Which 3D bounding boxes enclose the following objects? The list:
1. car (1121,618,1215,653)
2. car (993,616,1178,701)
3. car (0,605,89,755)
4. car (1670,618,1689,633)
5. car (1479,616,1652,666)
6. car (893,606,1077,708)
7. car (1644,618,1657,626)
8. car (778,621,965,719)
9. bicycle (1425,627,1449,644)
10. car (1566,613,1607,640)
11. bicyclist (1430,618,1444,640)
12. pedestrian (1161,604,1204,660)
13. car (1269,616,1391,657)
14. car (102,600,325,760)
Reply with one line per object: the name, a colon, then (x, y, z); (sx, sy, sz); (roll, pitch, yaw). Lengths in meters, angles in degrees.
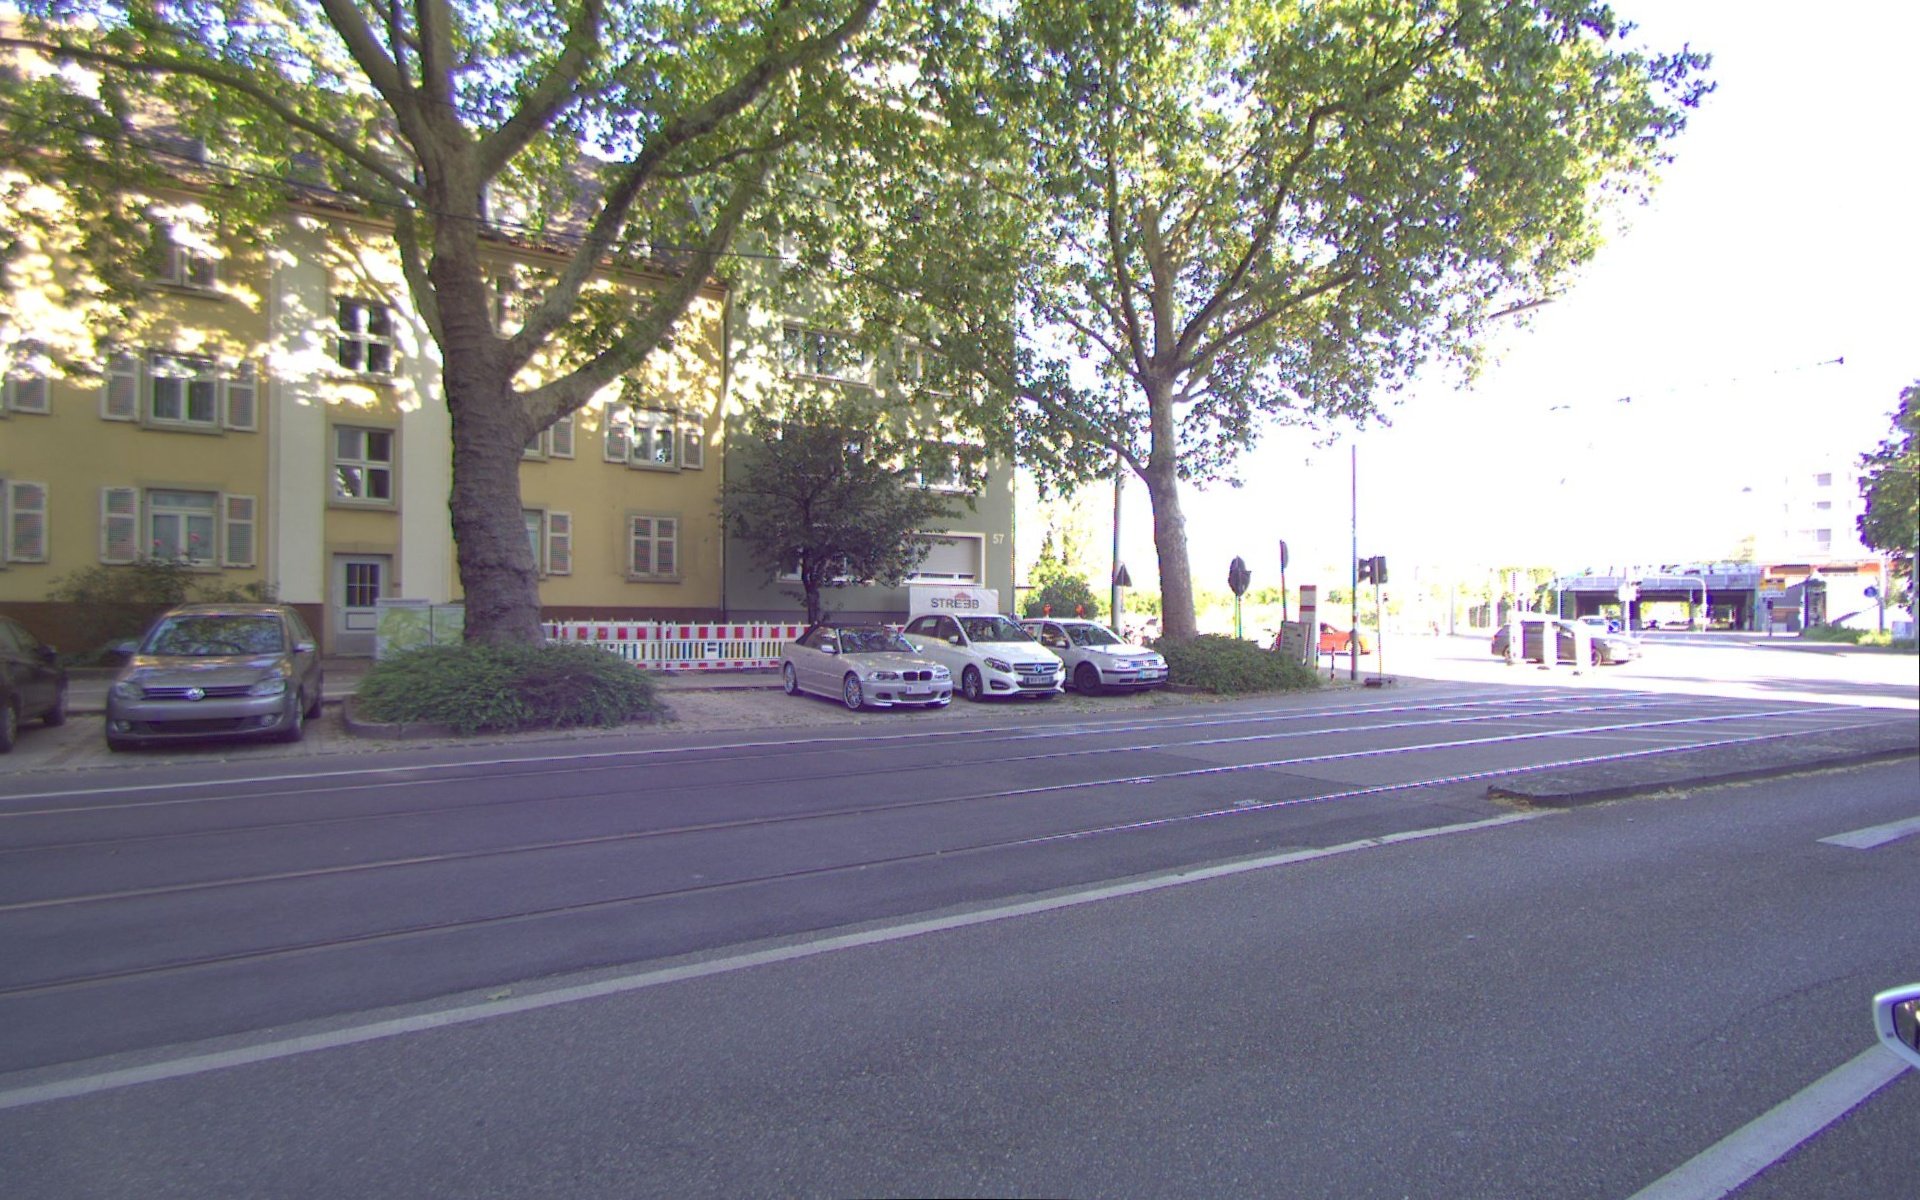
car: (10.426, 1.753, 50.432); (4.132, 1.572, 1.989); (2, 0, 40)
car: (2.449, 1.111, 20.531); (1.651, 1.473, 3.949); (1, 0, -31)
car: (-11.457, 0.834, 11.387); (1.652, 1.518, 3.778); (1, 0, -29)
car: (83.525, 2.970, 116.668); (1.731, 1.706, 3.729); (2, 0, 36)
car: (20.075, 1.312, 33.548); (1.912, 1.493, 4.713); (1, -1, -24)
car: (0.358, 0.984, 19.156); (1.651, 1.669, 3.949); (1, 0, -31)
car: (113.071, 3.656, 164.549); (1.555, 1.277, 3.421); (0, -1, 30)
car: (-1.641, 1.110, 17.311); (1.651, 1.370, 3.949); (1, 0, -31)
bicycle: (27.139, 2.015, 57.158); (1.560, 0.995, 0.523); (1, 0, -33)
car: (39.918, 1.663, 63.950); (1.860, 1.606, 3.823); (2, 0, 37)
bicyclist: (27.127, 1.657, 57.152); (0.524, 1.239, 0.523); (1, 0, -32)
pedestrian: (6.867, 0.990, 31.016); (0.919, 1.669, 0.841); (2, 0, -30)
car: (15.539, 1.496, 42.259); (4.420, 1.586, 2.015); (0, -1, 38)
car: (-8.991, 0.834, 12.419); (1.652, 1.602, 3.953); (1, 0, -29)
